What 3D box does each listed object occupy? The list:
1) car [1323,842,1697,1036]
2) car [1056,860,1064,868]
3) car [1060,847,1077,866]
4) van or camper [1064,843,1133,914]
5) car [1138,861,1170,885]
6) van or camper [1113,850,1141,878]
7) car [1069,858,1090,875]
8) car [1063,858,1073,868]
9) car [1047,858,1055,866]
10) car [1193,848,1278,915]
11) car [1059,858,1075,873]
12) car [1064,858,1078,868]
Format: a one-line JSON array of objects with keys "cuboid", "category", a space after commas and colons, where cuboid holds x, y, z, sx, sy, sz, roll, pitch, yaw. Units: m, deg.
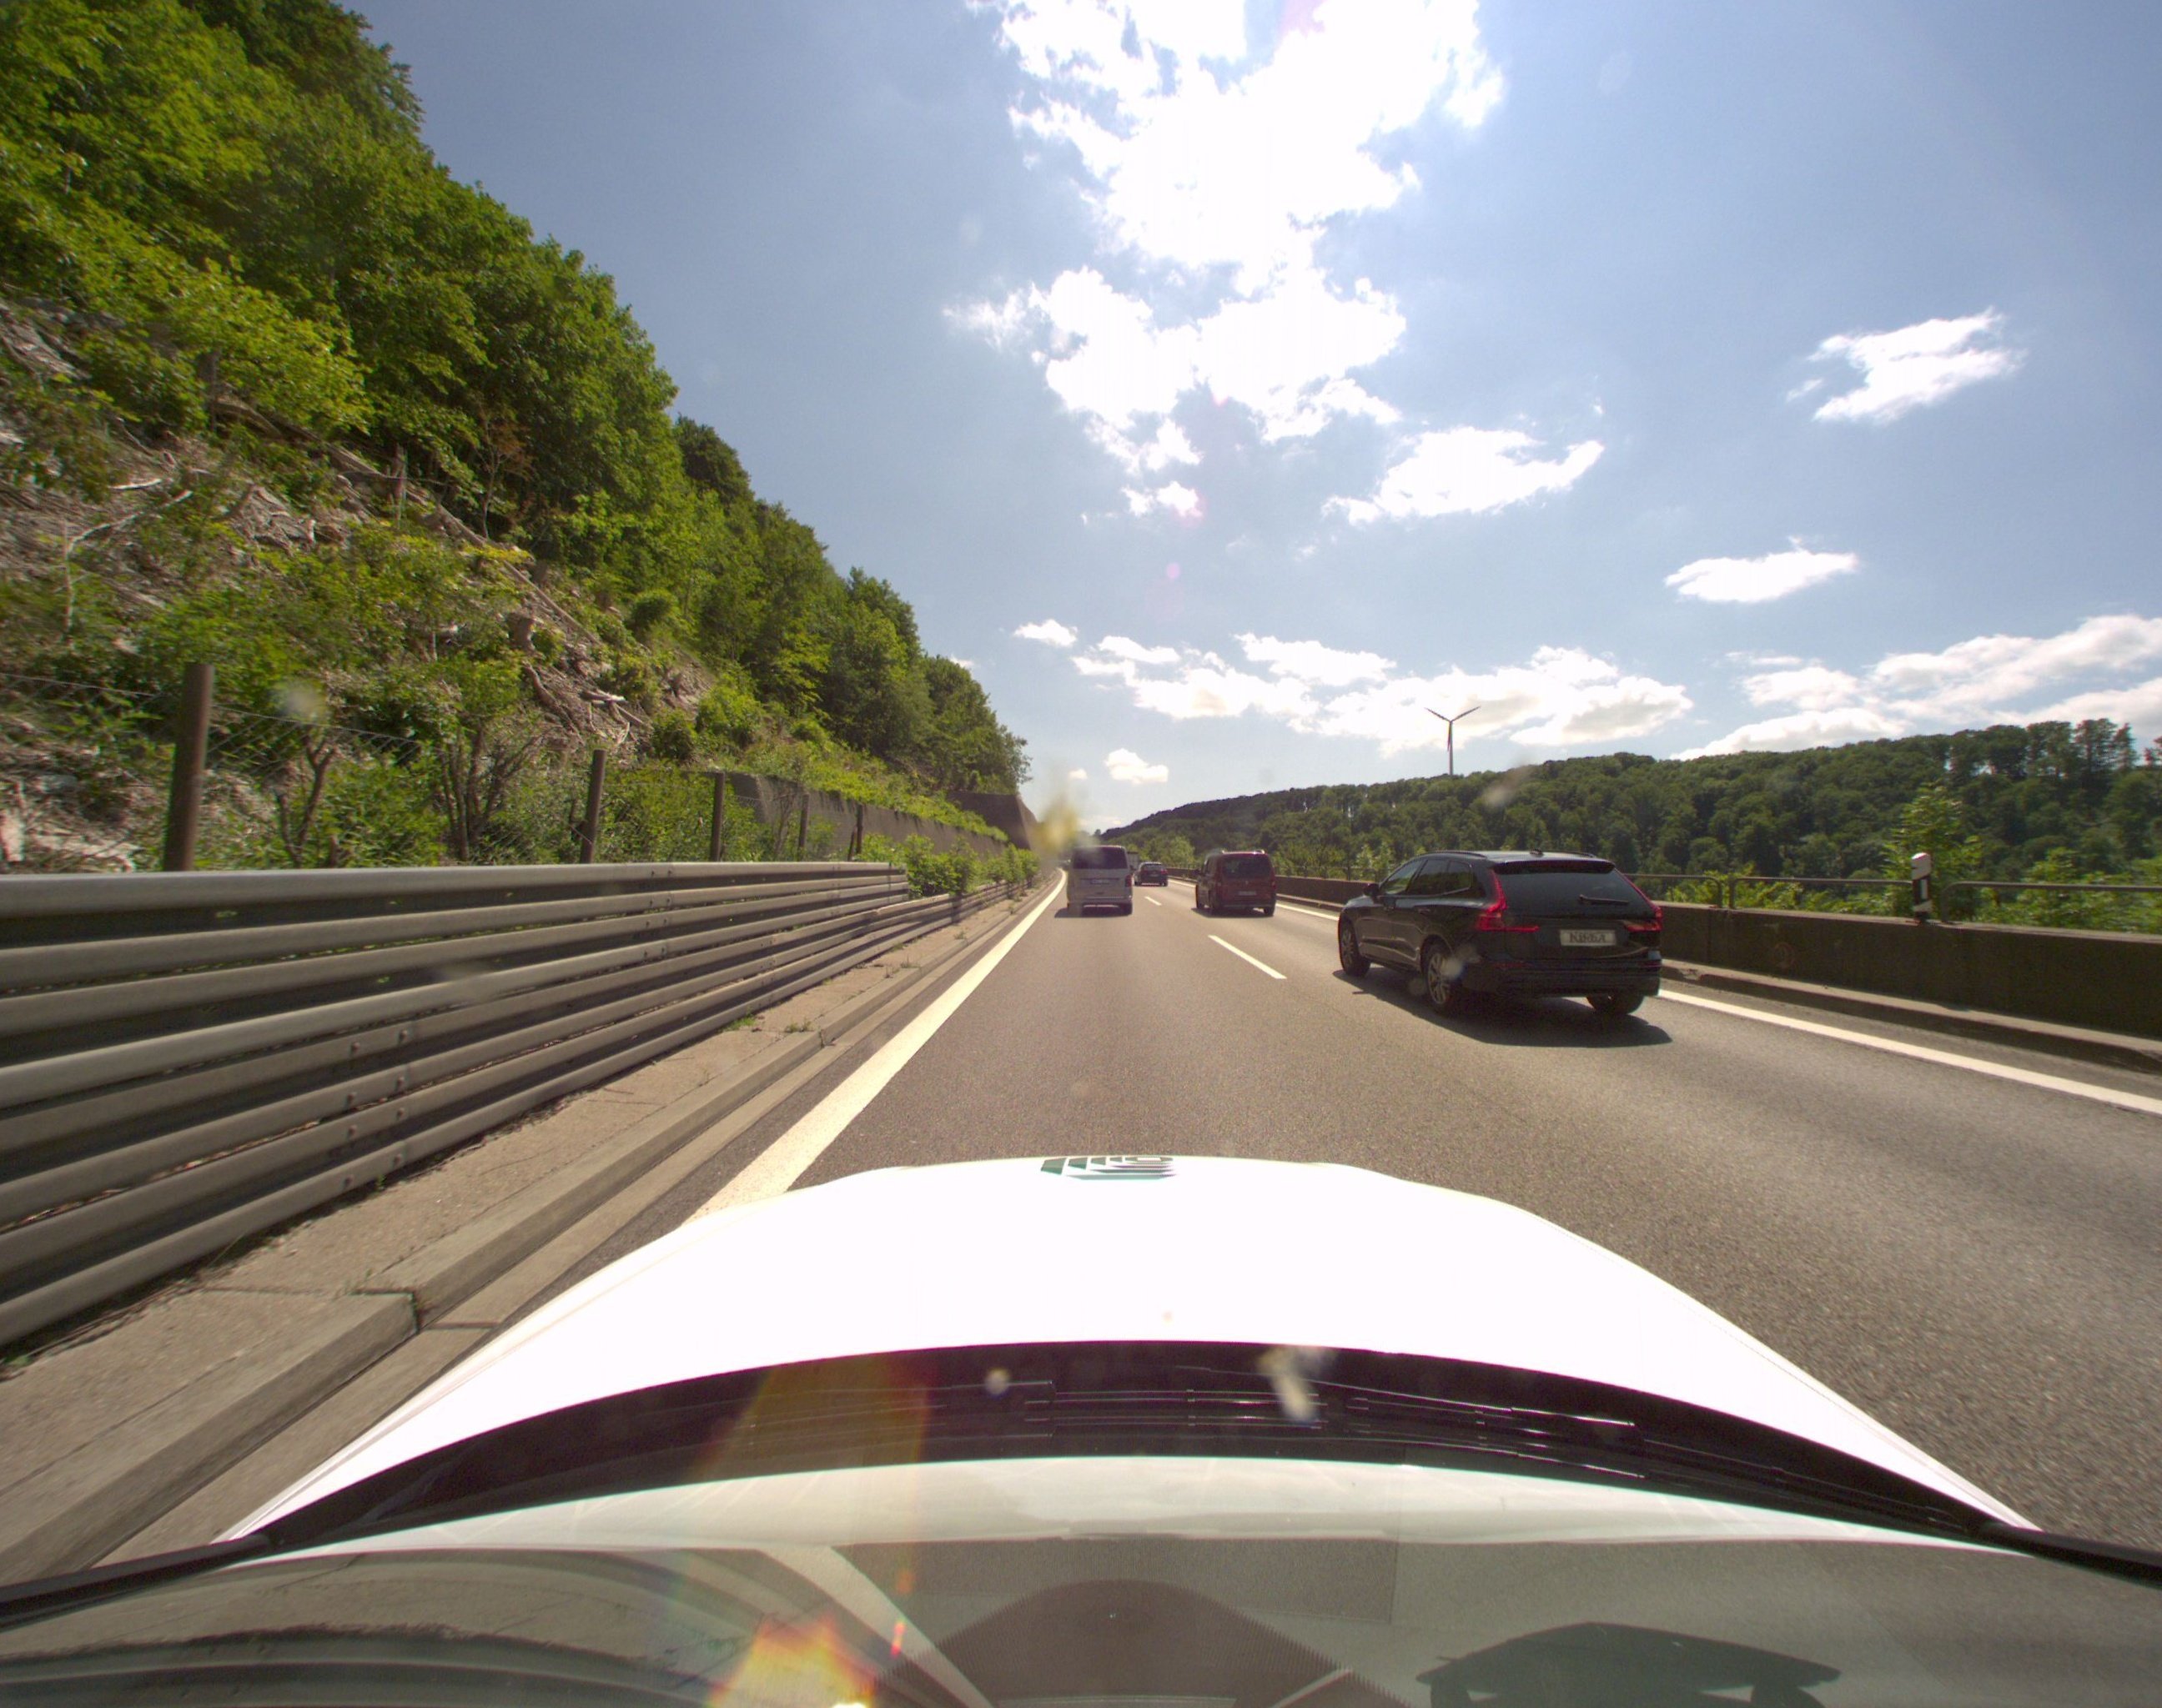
[{"cuboid": [4.366, 0.739, 9.307, 1.829, 1.633, 4.662, -1, 0, 0], "category": "car"}, {"cuboid": [-4.657, 2.137, 182.883, 1.840, 1.750, 3.998, 0, 0, -1], "category": "car"}, {"cuboid": [-3.359, 0.650, 212.988, 4.034, 4.871, 10.098, -1, -1, -3], "category": "car"}, {"cuboid": [0.527, 0.715, 24.532, 1.869, 1.950, 4.294, -1, -1, 1], "category": "van or camper"}, {"cuboid": [4.510, 1.157, 49.892, 1.759, 1.376, 3.600, -1, 0, 7], "category": "car"}, {"cuboid": [4.388, 0.923, 78.079, 2.258, 2.551, 4.733, -2, -1, -2], "category": "van or camper"}, {"cuboid": [-0.185, 1.324, 87.411, 1.989, 1.818, 3.995, 0, -1, -3], "category": "car"}, {"cuboid": [-2.598, 1.807, 165.043, 1.987, 2.014, 4.000, -2, -1, 1], "category": "car"}, {"cuboid": [-7.639, 2.103, 205.174, 1.842, 1.749, 3.995, -7, 0, -3], "category": "car"}, {"cuboid": [4.524, 0.798, 24.508, 1.826, 1.784, 4.678, -1, -1, 2], "category": "car"}, {"cuboid": [-1.750, 1.480, 103.800, 1.986, 1.915, 4.000, 0, -1, 1], "category": "car"}, {"cuboid": [-1.643, 1.433, 133.827, 2.136, 1.607, 5.076, 0, -1, 0], "category": "car"}]
